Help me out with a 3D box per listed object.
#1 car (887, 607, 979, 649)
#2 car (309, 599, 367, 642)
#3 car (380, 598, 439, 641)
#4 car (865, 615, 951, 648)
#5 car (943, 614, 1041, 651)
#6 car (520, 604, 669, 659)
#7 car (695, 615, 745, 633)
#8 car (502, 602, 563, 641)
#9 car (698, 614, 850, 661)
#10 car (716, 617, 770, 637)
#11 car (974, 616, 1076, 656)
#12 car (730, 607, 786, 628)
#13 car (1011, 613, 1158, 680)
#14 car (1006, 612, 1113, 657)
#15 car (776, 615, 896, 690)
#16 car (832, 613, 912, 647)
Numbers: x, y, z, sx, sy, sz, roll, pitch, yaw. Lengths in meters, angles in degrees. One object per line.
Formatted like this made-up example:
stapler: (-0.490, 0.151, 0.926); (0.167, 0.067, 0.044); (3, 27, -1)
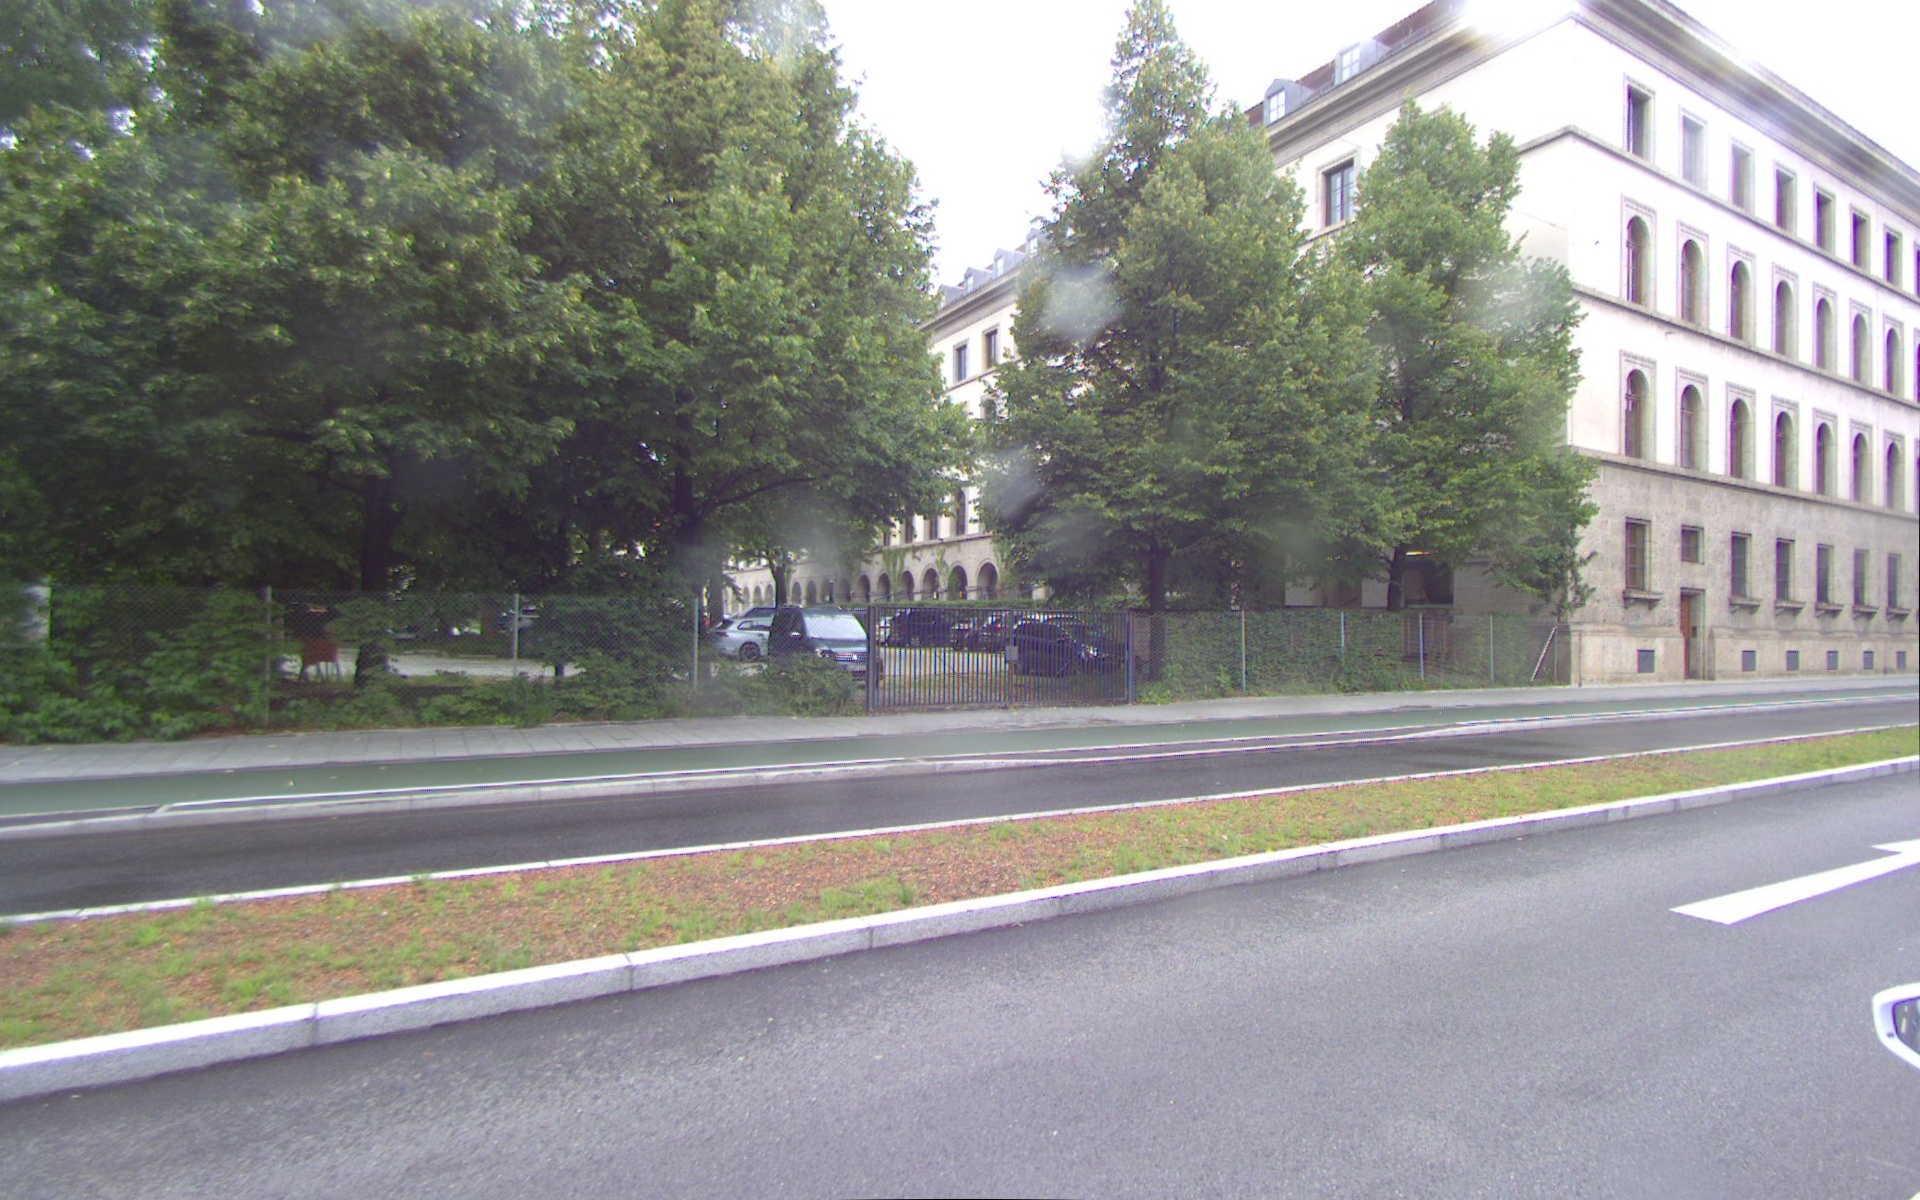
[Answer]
car: (-1.286, 1.343, 47.919); (3.949, 1.954, 1.838); (1, -1, -27)
car: (-26.304, 0.866, 42.504); (1.978, 1.742, 3.965); (1, -1, -32)
car: (-23.796, 0.841, 43.393); (1.978, 1.742, 3.965); (1, -1, -32)
car: (-2.575, 1.575, 49.931); (3.954, 1.564, 1.761); (2, -1, -31)
car: (1.401, 1.406, 43.619); (3.954, 1.564, 1.761); (2, -1, -31)
car: (-11.024, 0.949, 30.376); (3.956, 1.564, 1.761); (2, -1, -32)
car: (-21.263, 2.143, 89.017); (3.954, 1.564, 1.761); (2, -1, -31)
car: (-19.743, 0.993, 46.338); (1.978, 1.742, 3.965); (1, -1, -32)
car: (-6.190, 1.233, 33.545); (4.580, 1.460, 1.984); (2, -1, -31)
car: (-17.650, 2.191, 81.664); (3.954, 1.564, 1.761); (2, -1, -31)
car: (2.696, 1.478, 41.522); (3.954, 1.564, 1.761); (2, -1, -31)
car: (-15.721, 1.335, 78.142); (3.954, 1.564, 1.761); (2, -1, -31)
car: (3.271, 1.205, 27.245); (1.783, 1.671, 4.243); (1, -2, -30)
car: (3.903, 1.348, 39.287); (3.954, 1.661, 1.657); (2, -1, -31)
car: (-3.035, 1.189, 23.880); (1.779, 1.610, 4.137); (1, -2, -23)
car: (-4.758, 1.621, 54.389); (3.954, 1.755, 1.761); (2, -1, -31)
